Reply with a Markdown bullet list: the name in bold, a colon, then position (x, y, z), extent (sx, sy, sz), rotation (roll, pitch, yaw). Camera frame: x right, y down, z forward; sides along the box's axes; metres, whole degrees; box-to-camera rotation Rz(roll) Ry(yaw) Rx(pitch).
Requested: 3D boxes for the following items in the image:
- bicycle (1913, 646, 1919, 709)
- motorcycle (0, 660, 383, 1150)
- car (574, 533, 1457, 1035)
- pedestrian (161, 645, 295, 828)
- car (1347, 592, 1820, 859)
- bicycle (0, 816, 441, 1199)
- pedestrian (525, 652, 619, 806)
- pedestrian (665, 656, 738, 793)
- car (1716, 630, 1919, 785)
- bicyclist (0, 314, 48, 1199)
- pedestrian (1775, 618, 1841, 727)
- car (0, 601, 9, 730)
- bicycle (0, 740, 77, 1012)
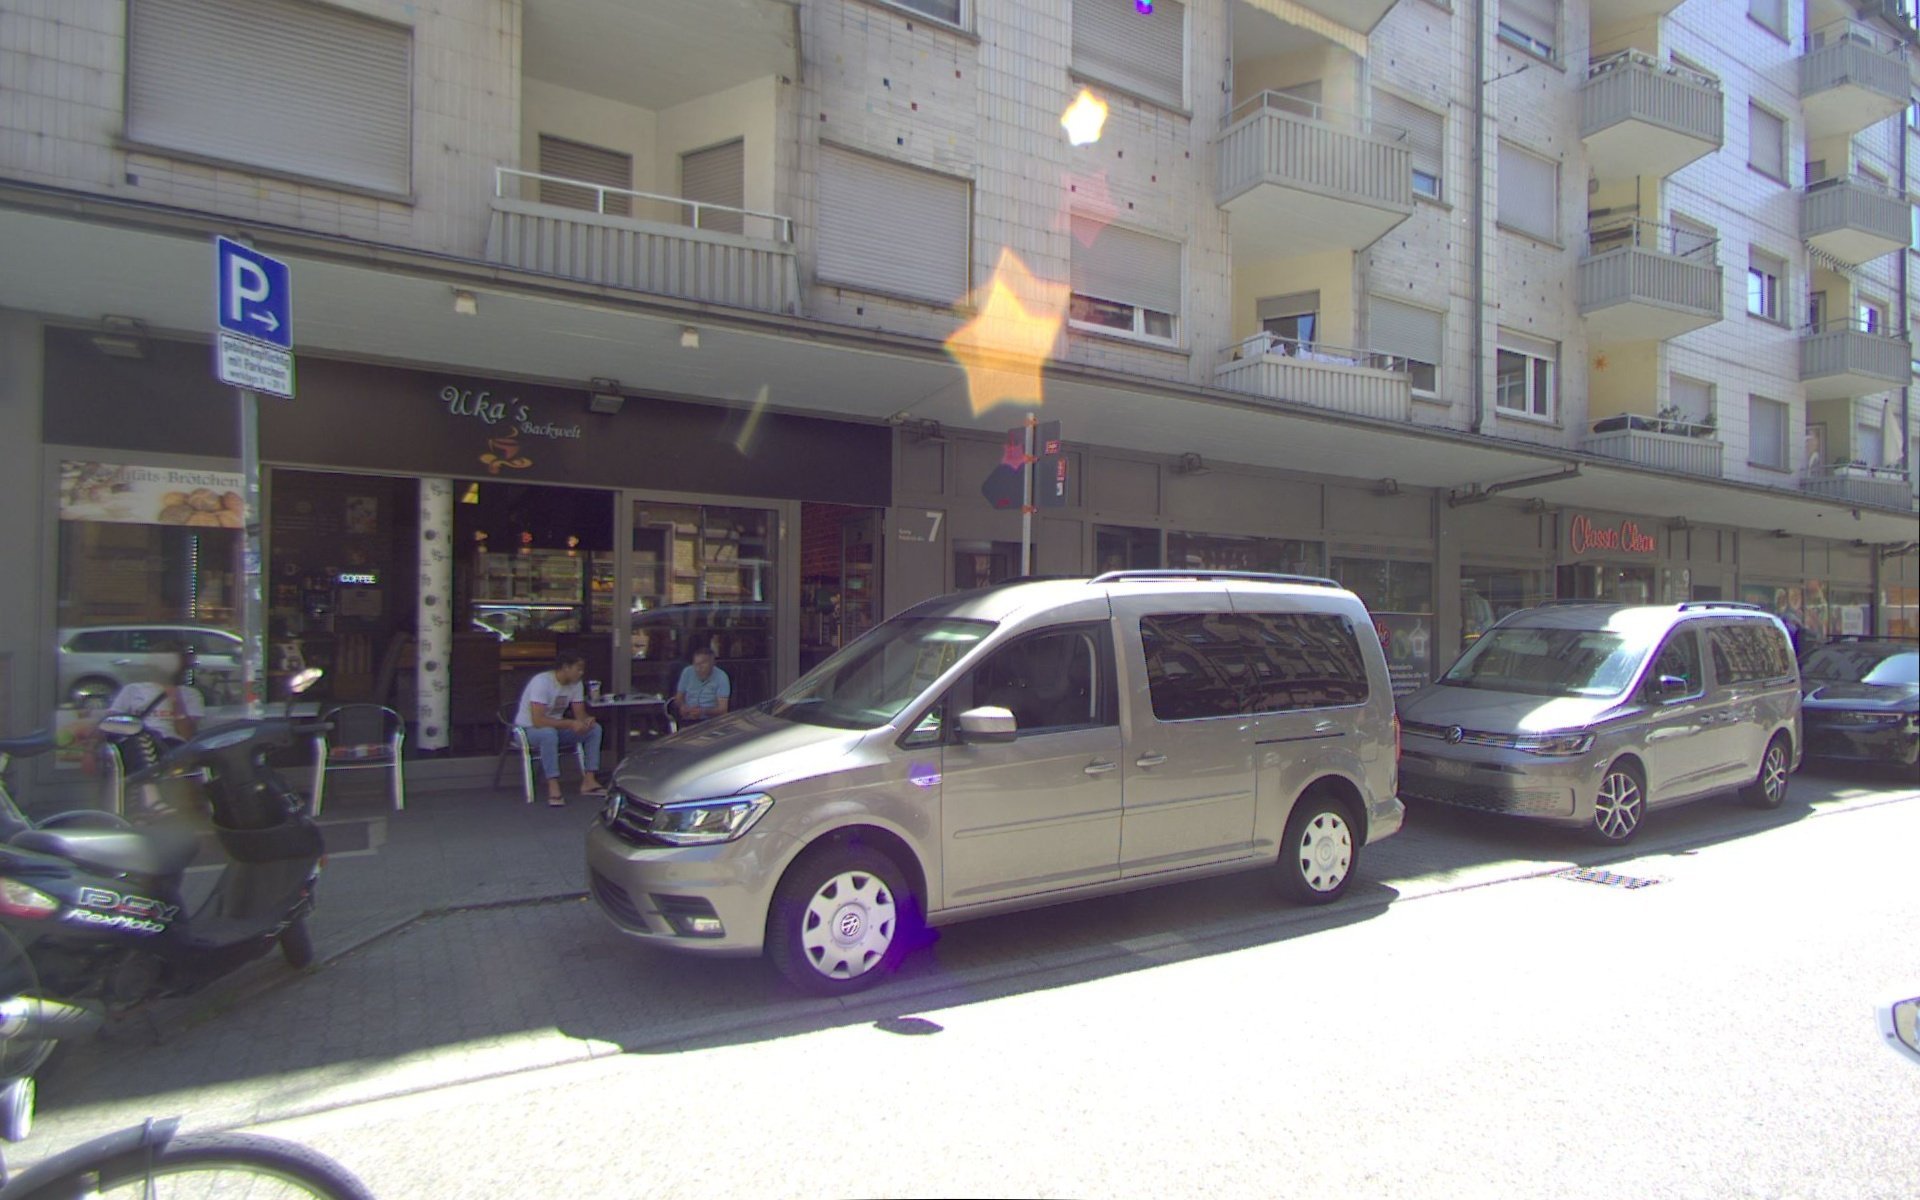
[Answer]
- **bicycle**: position (20.218, 1.571, 20.531), extent (1.988, 1.263, 0.532), rotation (1, -2, -30)
- **motorcycle**: position (-2.783, 0.913, 3.637), extent (0.385, 1.301, 1.557), rotation (2, 0, 2)
- **car**: position (0.520, 0.732, 5.716), extent (4.843, 1.853, 1.780), rotation (1, 0, -30)
- **pedestrian**: position (-5.141, 0.922, 7.091), extent (0.691, 1.195, 0.588), rotation (1, -1, -32)
- **car**: position (5.679, 0.914, 8.948), extent (4.649, 1.835, 1.778), rotation (1, -1, -33)
- **bicycle**: position (-1.675, 0.927, 1.110), extent (1.917, 1.106, 0.600), rotation (2, -2, -31)
- **pedestrian**: position (-3.060, 0.989, 7.918), extent (0.492, 1.141, 0.506), rotation (0, -2, 40)
- **pedestrian**: position (-2.249, 1.073, 8.783), extent (0.498, 1.141, 0.500), rotation (1, -1, -2)
- **car**: position (11.190, 1.178, 12.152), extent (4.411, 1.545, 1.662), rotation (1, 0, -30)
- **bicyclist**: position (-1.734, 0.448, 1.076), extent (0.967, 1.729, 0.620), rotation (1, -1, -30)
- **pedestrian**: position (13.979, 1.180, 16.566), extent (0.650, 1.749, 0.628), rotation (1, -2, -28)
- **car**: position (-10.895, 0.791, 9.371), extent (1.976, 1.450, 3.968), rotation (-2, 2, -30)
- **bicycle**: position (-3.810, 1.041, 3.431), extent (0.330, 0.969, 1.214), rotation (1, -1, 12)
